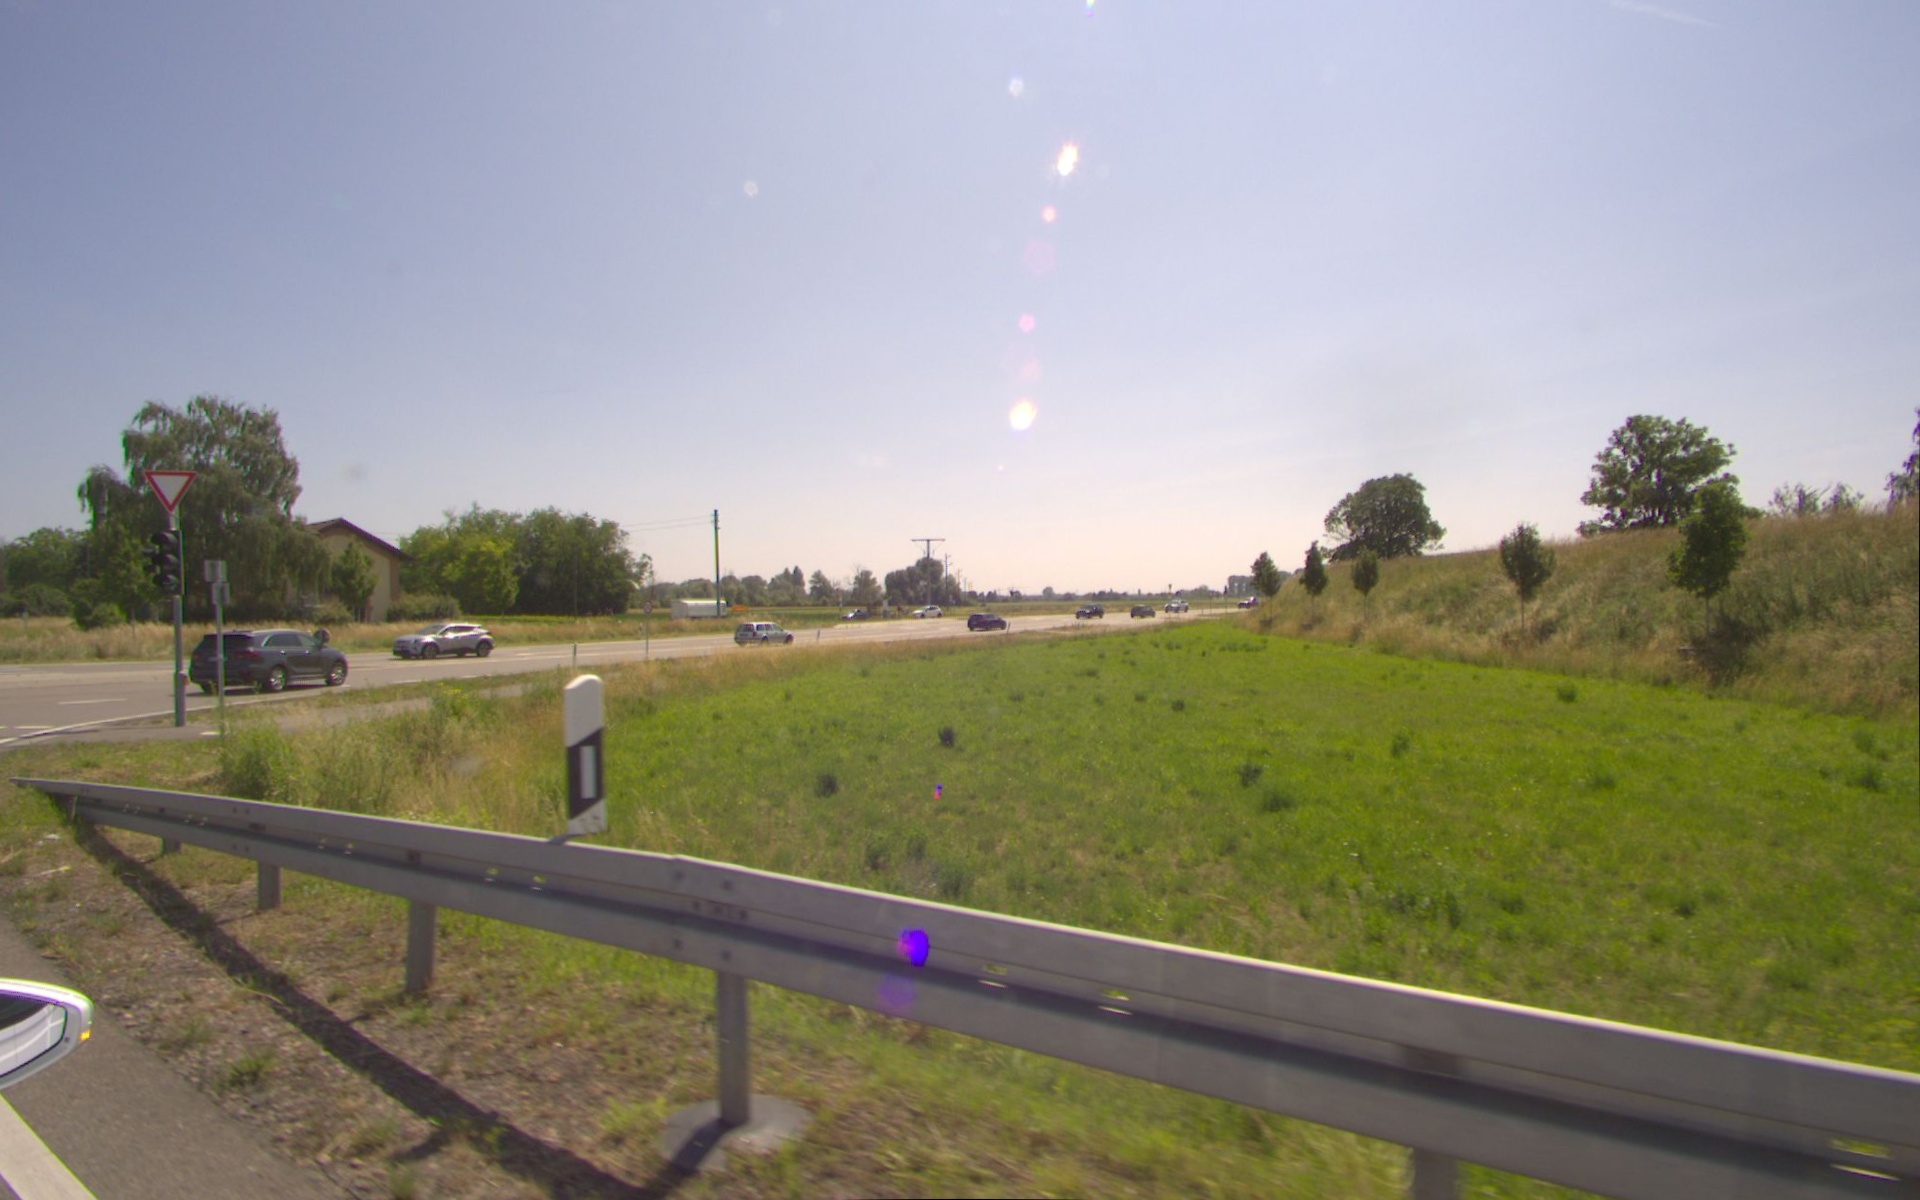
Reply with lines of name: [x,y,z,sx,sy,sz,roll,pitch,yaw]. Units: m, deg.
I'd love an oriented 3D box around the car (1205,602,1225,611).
car: [40.049,1.007,157.323,2.054,1.344,4.397,-1,-2,29]

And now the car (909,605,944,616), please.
car: [-4.154,1.271,123.474,3.986,1.350,1.685,1,1,-35]

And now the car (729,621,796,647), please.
car: [-11.579,1.986,58.954,1.777,1.447,4.081,-2,-3,25]

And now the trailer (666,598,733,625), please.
trailer: [-25.213,1.095,97.189,2.647,2.489,6.349,1,1,31]

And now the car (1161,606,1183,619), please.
car: [28.815,1.702,136.030,1.854,1.672,4.826,1,0,26]

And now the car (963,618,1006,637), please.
car: [2.117,2.340,85.040,1.779,1.495,4.395,-1,-2,30]

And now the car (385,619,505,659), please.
car: [-22.906,1.695,44.727,1.843,1.564,4.529,1,1,30]

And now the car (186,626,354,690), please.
car: [-19.202,1.562,28.136,1.903,1.637,4.379,0,-2,-3]

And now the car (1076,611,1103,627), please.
car: [14.774,2.157,113.967,1.841,1.672,4.311,1,1,26]

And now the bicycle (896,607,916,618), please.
bicycle: [-7.316,1.690,136.535,2.569,1.389,0.901,-2,-2,17]

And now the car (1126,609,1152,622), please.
car: [20.920,1.820,117.022,1.779,1.541,3.865,-2,-2,30]
